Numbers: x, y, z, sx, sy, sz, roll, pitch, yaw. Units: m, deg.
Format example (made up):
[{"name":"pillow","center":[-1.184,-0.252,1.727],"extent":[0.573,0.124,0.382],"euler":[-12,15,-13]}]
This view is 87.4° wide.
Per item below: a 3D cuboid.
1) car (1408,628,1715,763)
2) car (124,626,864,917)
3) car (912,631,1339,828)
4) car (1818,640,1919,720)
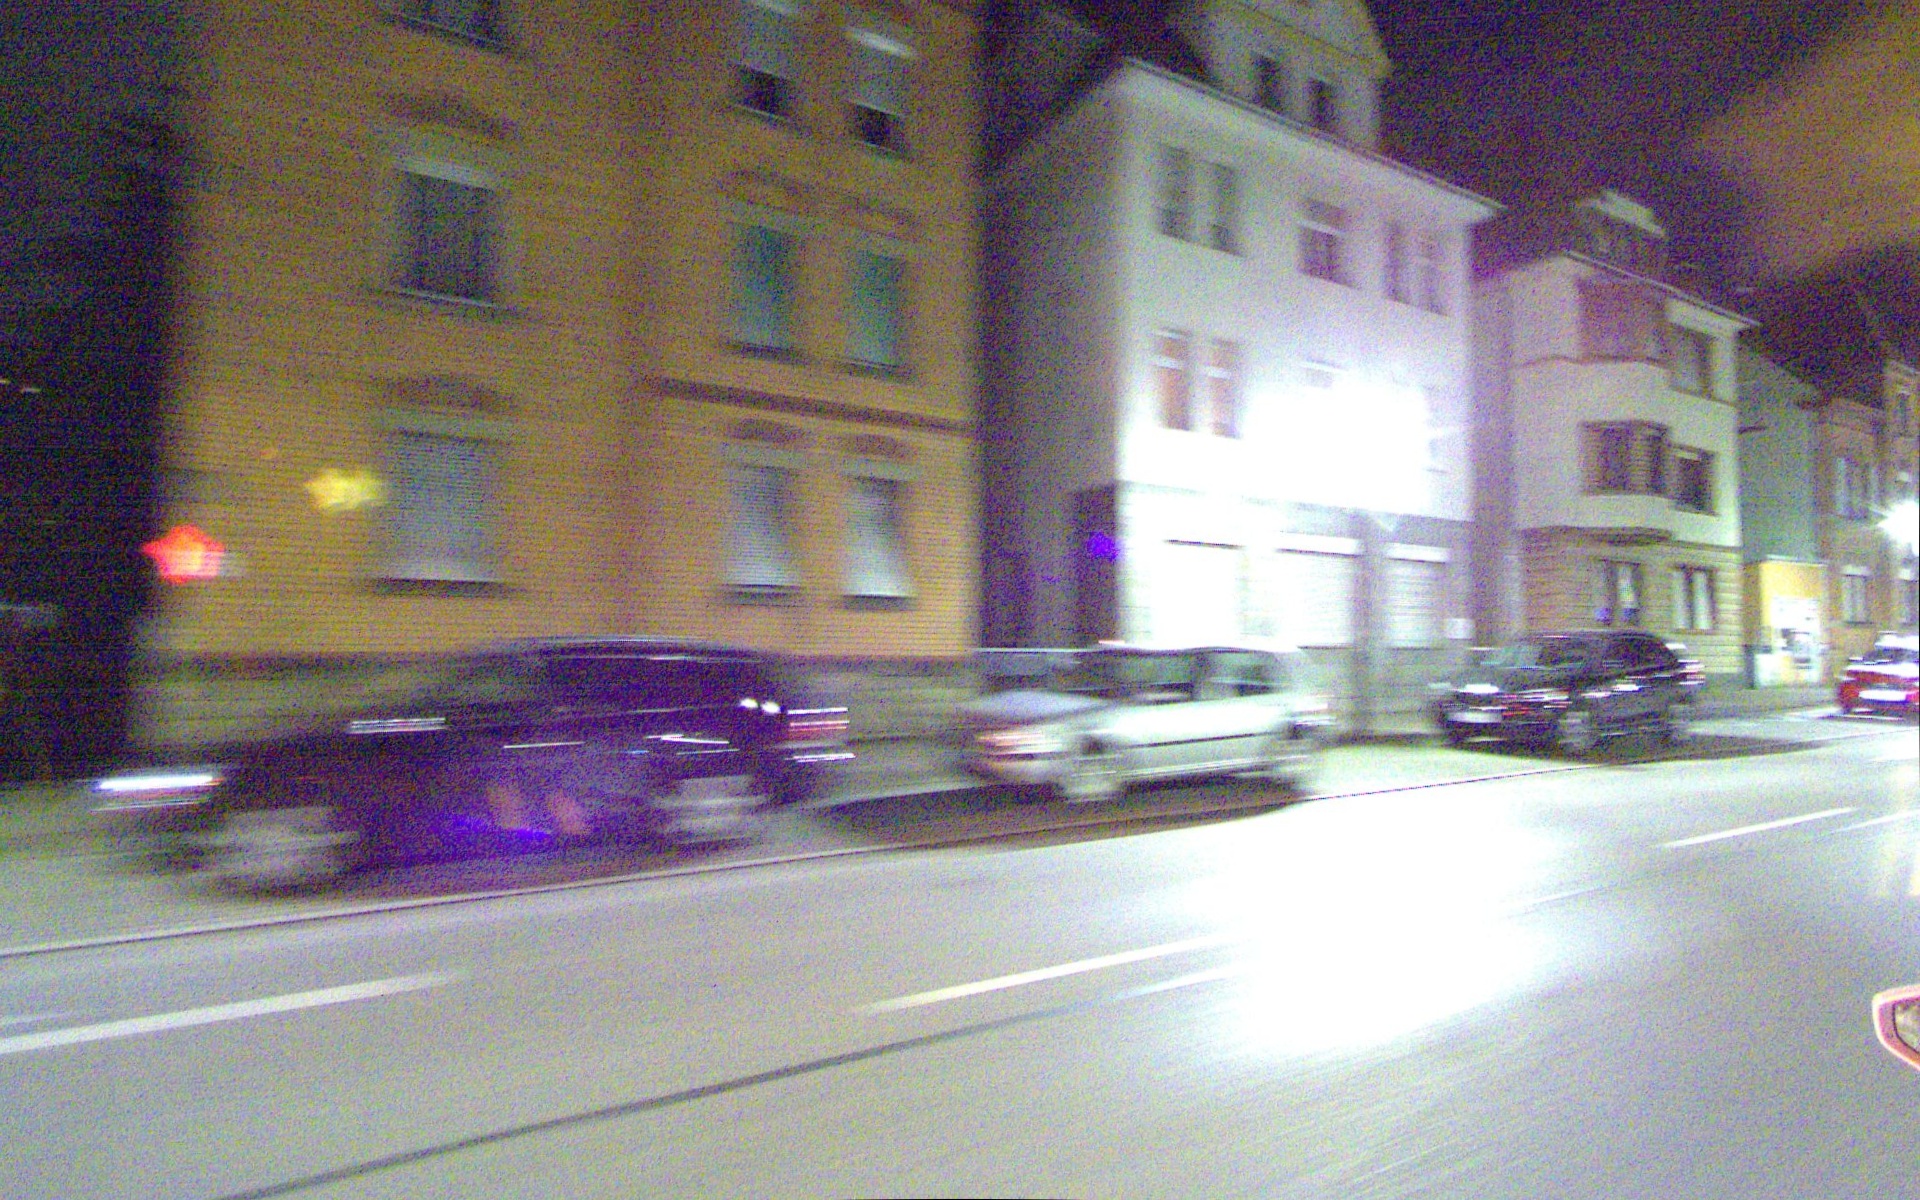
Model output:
[{"name":"car","center":[8.486,1.223,14.094],"extent":[4.358,1.603,1.777],"euler":[1,0,-29]},{"name":"car","center":[-3.000,0.962,7.173],"extent":[4.278,1.511,1.776],"euler":[1,-1,-30]},{"name":"car","center":[1.681,1.089,9.822],"extent":[3.956,1.511,1.775],"euler":[1,0,-32]},{"name":"car","center":[19.305,1.557,20.358],"extent":[4.081,1.434,1.775],"euler":[1,-1,-32]}]
